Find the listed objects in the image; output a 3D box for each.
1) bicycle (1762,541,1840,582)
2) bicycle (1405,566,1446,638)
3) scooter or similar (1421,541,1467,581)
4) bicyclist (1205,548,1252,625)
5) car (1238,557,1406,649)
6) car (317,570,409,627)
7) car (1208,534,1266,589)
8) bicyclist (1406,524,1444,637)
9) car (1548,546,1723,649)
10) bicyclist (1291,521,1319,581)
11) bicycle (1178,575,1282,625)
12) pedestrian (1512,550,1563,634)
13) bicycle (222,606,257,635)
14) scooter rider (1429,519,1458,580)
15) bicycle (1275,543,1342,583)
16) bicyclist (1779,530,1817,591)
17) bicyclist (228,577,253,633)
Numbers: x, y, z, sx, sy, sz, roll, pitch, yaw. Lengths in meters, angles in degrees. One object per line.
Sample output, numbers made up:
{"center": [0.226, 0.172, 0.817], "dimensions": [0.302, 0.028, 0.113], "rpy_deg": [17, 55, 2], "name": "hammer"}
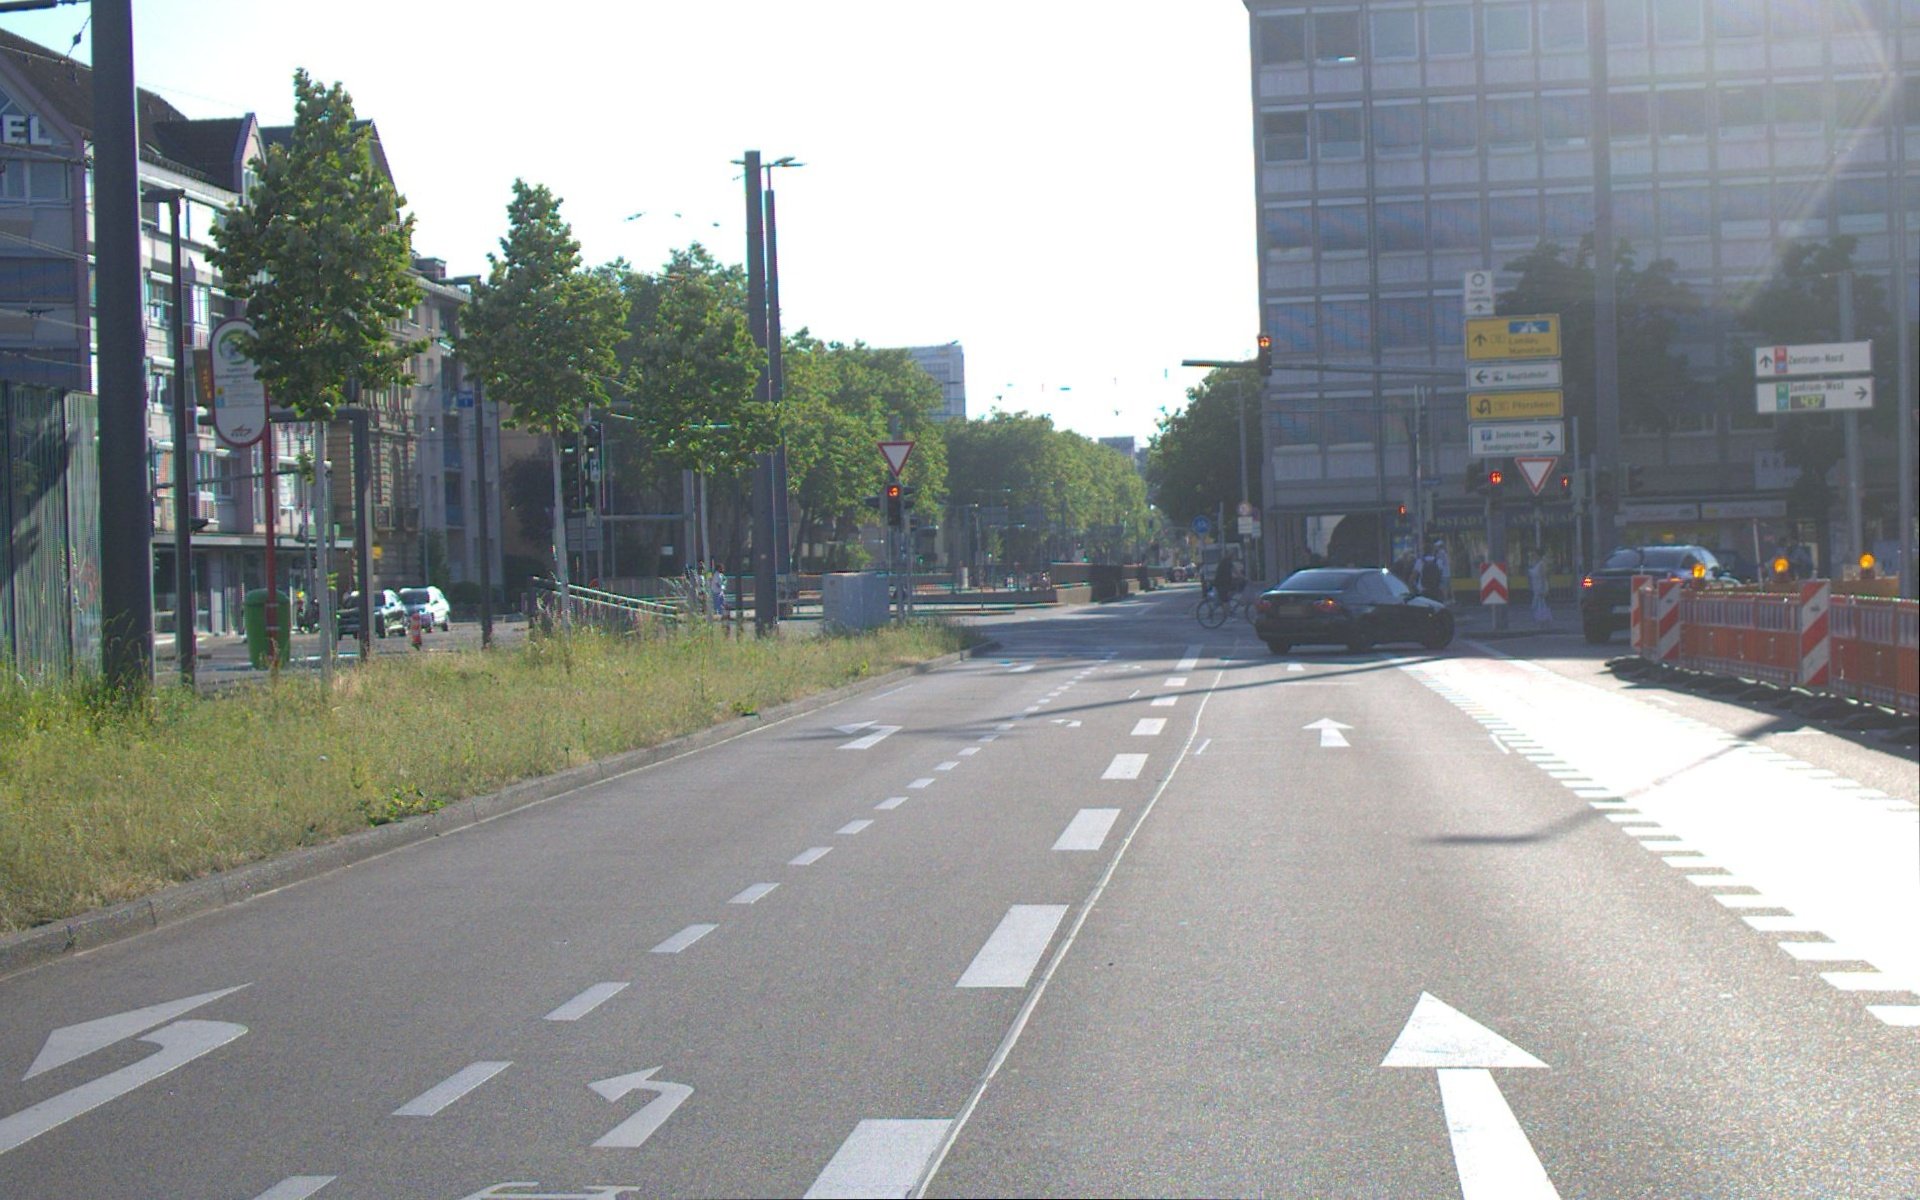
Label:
{"center": [24.779, -1.130, 101.271], "dimensions": [2.094, 1.133, 0.658], "rpy_deg": [-2, 1, 1], "name": "bicycle"}
{"center": [8.417, 0.025, 62.220], "dimensions": [0.645, 1.219, 2.048], "rpy_deg": [0, 2, 5], "name": "bicycle"}
{"center": [13.748, -1.104, 97.627], "dimensions": [1.171, 1.068, 0.530], "rpy_deg": [-2, 0, -5], "name": "scooter or similar"}
{"center": [5.883, -0.298, 75.256], "dimensions": [0.959, 1.656, 0.691], "rpy_deg": [-1, 0, 8], "name": "bicyclist"}
{"center": [6.082, 0.031, 57.354], "dimensions": [1.745, 1.421, 3.996], "rpy_deg": [-1, 1, 22], "name": "car"}
{"center": [-20.789, -0.070, 119.852], "dimensions": [1.994, 1.853, 3.999], "rpy_deg": [-2, 1, 7], "name": "car"}
{"center": [12.858, -1.783, 159.902], "dimensions": [2.486, 2.384, 5.933], "rpy_deg": [-3, 0, 4], "name": "car"}
{"center": [8.433, -0.365, 62.362], "dimensions": [0.643, 2.006, 1.067], "rpy_deg": [0, 2, 5], "name": "bicyclist"}
{"center": [12.055, -0.076, 61.188], "dimensions": [1.996, 1.687, 3.994], "rpy_deg": [1, 2, 28], "name": "car"}
{"center": [9.867, -1.396, 98.288], "dimensions": [0.663, 1.706, 0.538], "rpy_deg": [-2, 0, -5], "name": "bicyclist"}
{"center": [5.911, 0.002, 75.251], "dimensions": [2.227, 1.023, 0.682], "rpy_deg": [-1, 0, 8], "name": "bicycle"}
{"center": [11.257, -0.154, 66.990], "dimensions": [0.878, 1.592, 0.655], "rpy_deg": [-2, 0, 5], "name": "pedestrian"}
{"center": [-24.067, 0.684, 114.853], "dimensions": [0.598, 0.912, 1.836], "rpy_deg": [-2, 1, 6], "name": "bicycle"}
{"center": [13.739, -1.430, 97.620], "dimensions": [0.663, 1.706, 0.527], "rpy_deg": [-2, 0, -5], "name": "scooter rider"}
{"center": [9.963, -1.057, 98.291], "dimensions": [1.775, 1.068, 0.535], "rpy_deg": [-2, 0, -5], "name": "bicycle"}
{"center": [24.682, -1.168, 101.268], "dimensions": [0.898, 1.747, 0.655], "rpy_deg": [-2, 0, 0], "name": "bicyclist"}
{"center": [-24.050, 0.172, 114.917], "dimensions": [0.593, 1.855, 0.642], "rpy_deg": [-2, 0, 6], "name": "bicyclist"}
